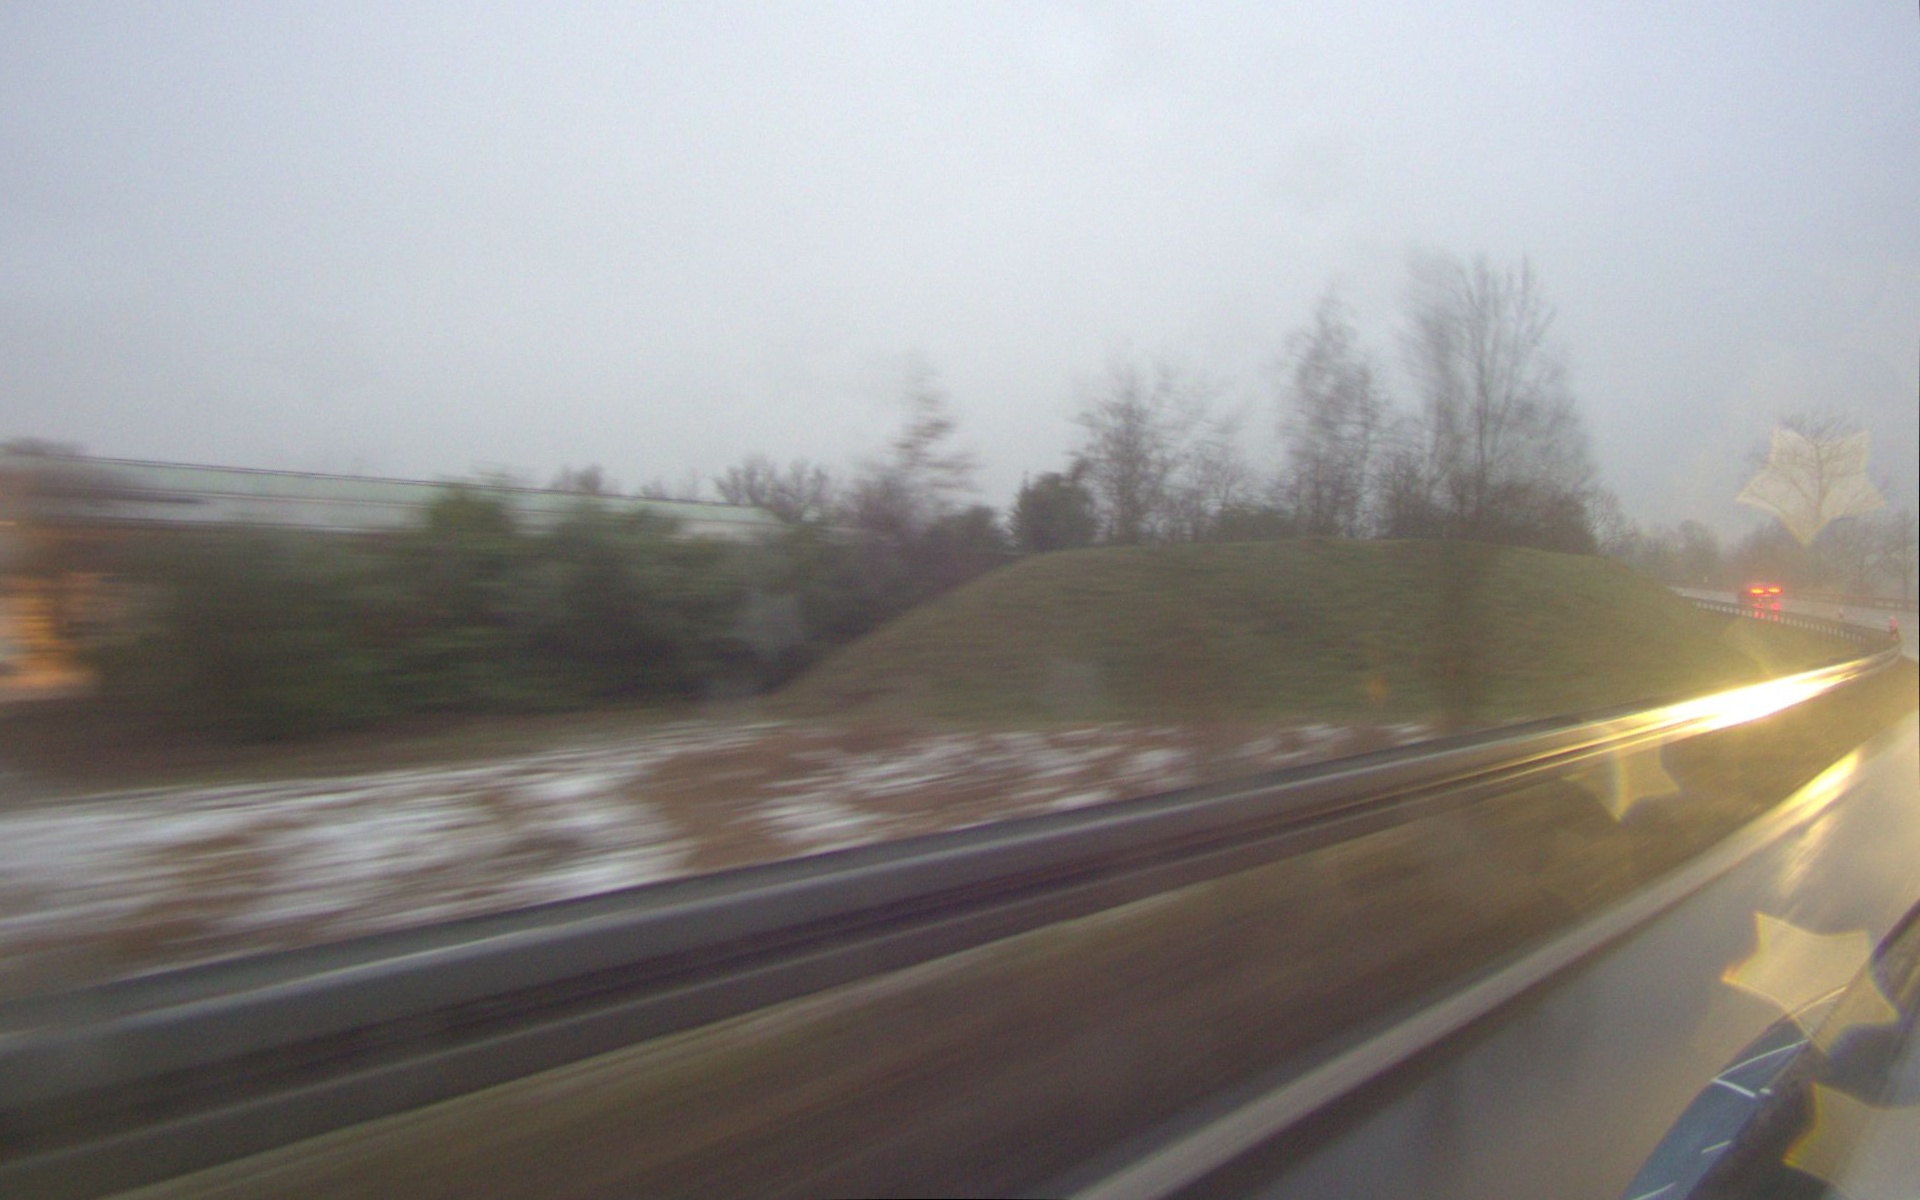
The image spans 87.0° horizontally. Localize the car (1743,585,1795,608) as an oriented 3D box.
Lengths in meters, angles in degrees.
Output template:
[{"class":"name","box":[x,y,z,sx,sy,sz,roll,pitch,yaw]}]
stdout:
[{"class":"car","box":[65.545,-0.328,82.065,1.977,1.642,4.561,-5,-2,23]}]
